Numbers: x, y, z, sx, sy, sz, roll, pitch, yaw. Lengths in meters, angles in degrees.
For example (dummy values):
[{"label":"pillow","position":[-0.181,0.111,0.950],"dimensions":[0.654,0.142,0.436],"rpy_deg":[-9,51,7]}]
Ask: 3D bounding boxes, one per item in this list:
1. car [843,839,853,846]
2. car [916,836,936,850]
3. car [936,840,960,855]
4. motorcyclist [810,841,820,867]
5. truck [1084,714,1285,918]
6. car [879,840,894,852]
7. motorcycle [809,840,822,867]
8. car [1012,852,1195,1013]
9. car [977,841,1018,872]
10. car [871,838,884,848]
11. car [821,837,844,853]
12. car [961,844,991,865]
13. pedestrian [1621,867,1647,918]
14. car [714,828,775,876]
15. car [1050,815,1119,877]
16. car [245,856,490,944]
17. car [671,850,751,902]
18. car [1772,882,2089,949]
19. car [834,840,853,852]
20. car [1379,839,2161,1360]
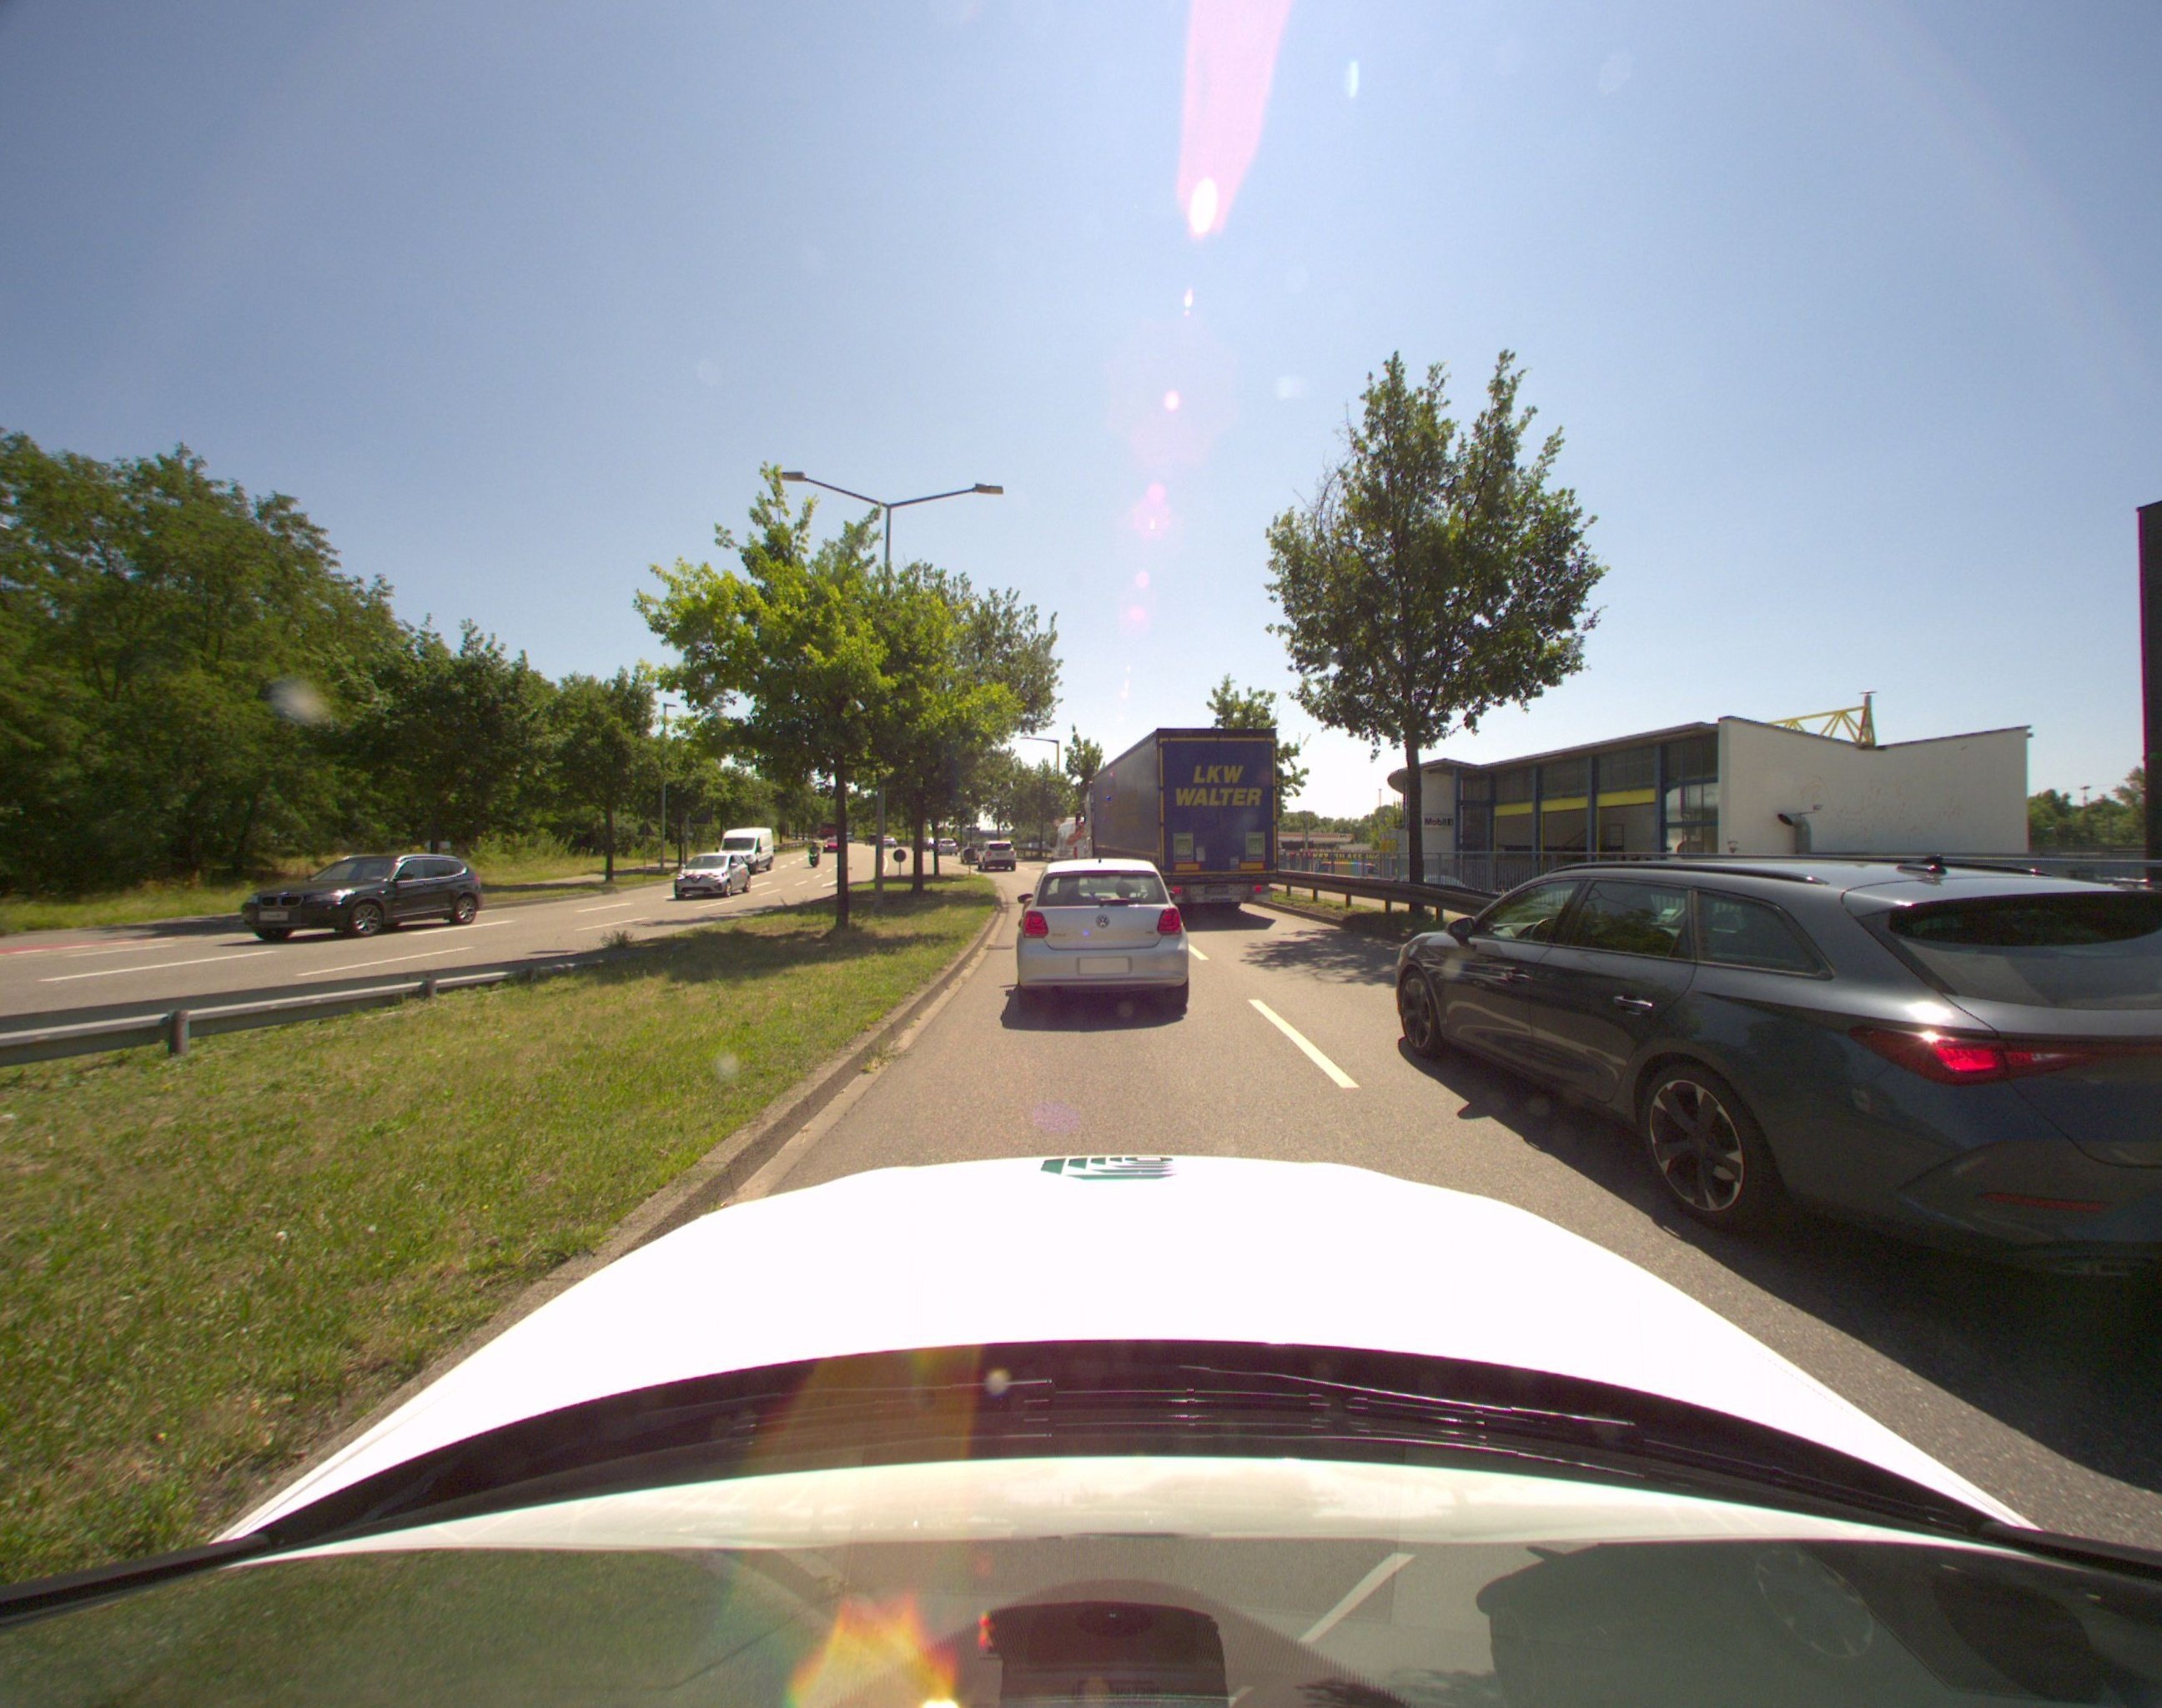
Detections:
[{"label":"car","position":[-36.636,-1.829,128.108],"dimensions":[1.325,1.138,2.976],"rpy_deg":[0,0,-19]},{"label":"car","position":[-16.414,-1.131,86.243],"dimensions":[1.669,1.465,3.559],"rpy_deg":[0,0,-18]},{"label":"car","position":[-12.098,-0.604,74.055],"dimensions":[1.613,1.360,3.639],"rpy_deg":[0,1,-19]},{"label":"motorcyclist","position":[-17.165,-0.005,52.535],"dimensions":[0.588,1.626,0.560],"rpy_deg":[0,-1,-13]},{"label":"truck","position":[2.187,-0.844,25.071],"dimensions":[2.828,4.198,16.447],"rpy_deg":[0,0,-5]},{"label":"car","position":[-23.391,-0.975,97.990],"dimensions":[1.461,1.314,3.615],"rpy_deg":[0,0,-18]},{"label":"motorcycle","position":[-17.159,-0.012,52.607],"dimensions":[0.598,1.678,2.414],"rpy_deg":[0,0,-14]},{"label":"car","position":[0.236,0.712,9.101],"dimensions":[1.640,1.439,3.537],"rpy_deg":[0,0,1]},{"label":"car","position":[-4.823,0.138,46.554],"dimensions":[1.904,1.718,4.207],"rpy_deg":[0,0,-11]},{"label":"car","position":[-27.299,-1.500,109.122],"dimensions":[1.421,1.314,3.317],"rpy_deg":[0,0,-18]},{"label":"car","position":[-24.523,-0.836,80.337],"dimensions":[1.833,1.437,4.505],"rpy_deg":[-2,0,-13]},{"label":"car","position":[-7.167,-0.009,55.216],"dimensions":[1.498,1.360,3.643],"rpy_deg":[0,1,-16]},{"label":"pedestrian","position":[18.788,1.307,27.679],"dimensions":[0.425,1.703,0.588],"rpy_deg":[0,-1,-6]},{"label":"car","position":[-18.919,-0.165,46.066],"dimensions":[2.096,2.500,5.786],"rpy_deg":[-1,2,-12]},{"label":"car","position":[0.050,-0.461,41.728],"dimensions":[2.178,2.900,6.331],"rpy_deg":[0,1,-13]},{"label":"car","position":[-15.048,0.865,17.557],"dimensions":[1.485,1.633,4.469],"rpy_deg":[0,0,-3]},{"label":"car","position":[-13.117,0.719,29.098],"dimensions":[1.635,1.567,4.058],"rpy_deg":[-1,2,-11]},{"label":"car","position":[20.305,1.409,19.886],"dimensions":[5.017,1.358,2.013],"rpy_deg":[0,0,33]},{"label":"car","position":[-28.005,-0.948,96.060],"dimensions":[1.811,1.333,4.549],"rpy_deg":[0,0,-13]},{"label":"car","position":[3.216,0.694,4.424],"dimensions":[1.600,1.456,4.233],"rpy_deg":[0,0,-1]}]
